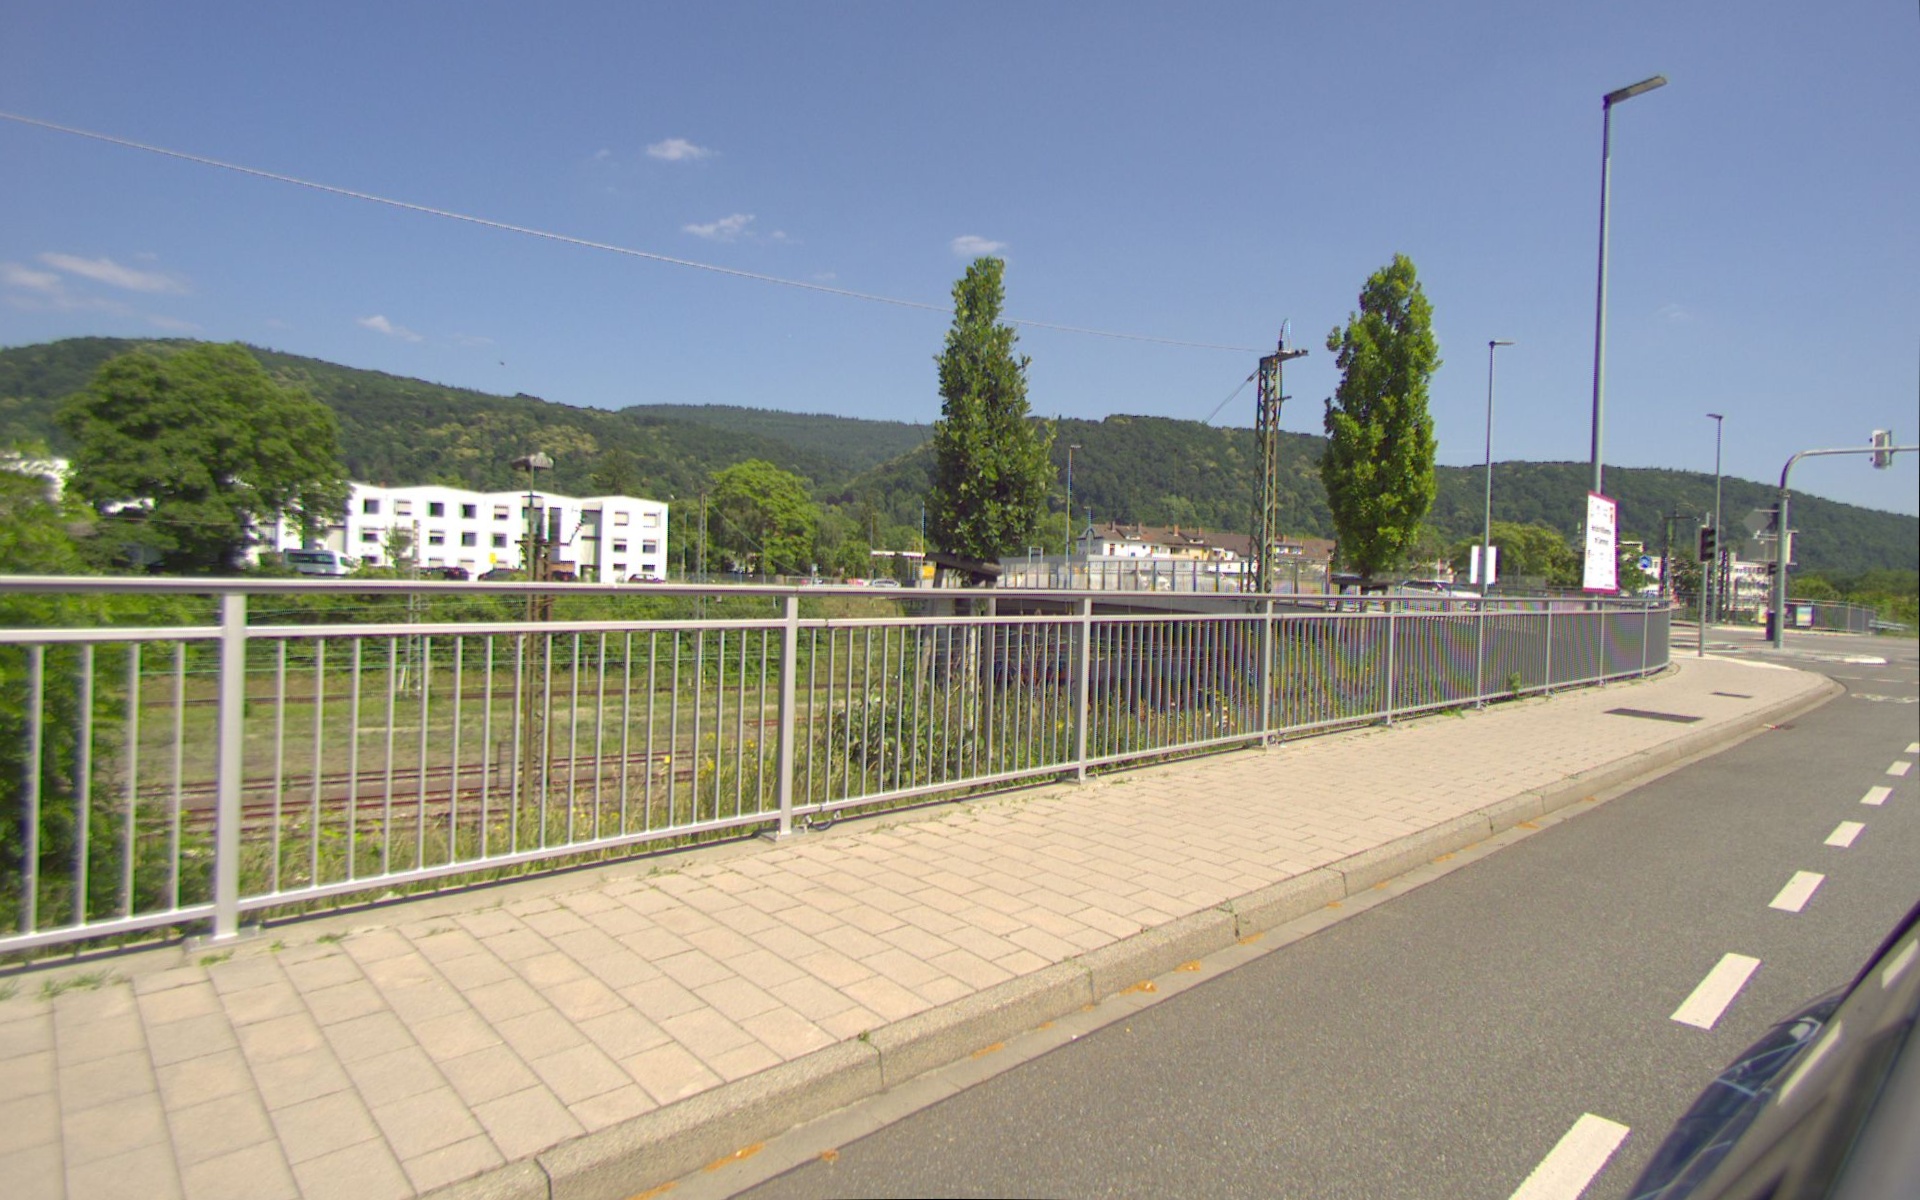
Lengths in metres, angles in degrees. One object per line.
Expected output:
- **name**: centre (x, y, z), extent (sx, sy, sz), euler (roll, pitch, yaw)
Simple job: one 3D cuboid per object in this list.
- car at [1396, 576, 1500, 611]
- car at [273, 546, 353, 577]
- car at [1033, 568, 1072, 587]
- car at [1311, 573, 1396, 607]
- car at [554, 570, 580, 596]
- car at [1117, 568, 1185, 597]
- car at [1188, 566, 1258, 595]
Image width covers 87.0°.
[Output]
- **car**: centre (22.501, -0.339, 46.882), extent (1.700, 1.487, 4.421), euler (1, 1, -19)
- **car**: centre (-48.402, -2.851, 75.769), extent (4.899, 2.139, 1.999), euler (1, 1, -38)
- **car**: centre (8.316, -2.044, 91.194), extent (1.700, 1.647, 4.452), euler (1, 1, -19)
- **car**: centre (20.794, -0.555, 53.631), extent (1.700, 1.646, 4.453), euler (1, 1, -19)
- **car**: centre (-33.929, -1.491, 87.412), extent (1.958, 2.038, 4.481), euler (1, 1, -21)
- **car**: centre (12.340, -1.151, 65.839), extent (1.959, 1.740, 4.642), euler (1, 1, -25)
- **car**: centre (16.311, -1.238, 62.965), extent (1.701, 1.646, 4.450), euler (1, 1, -27)
